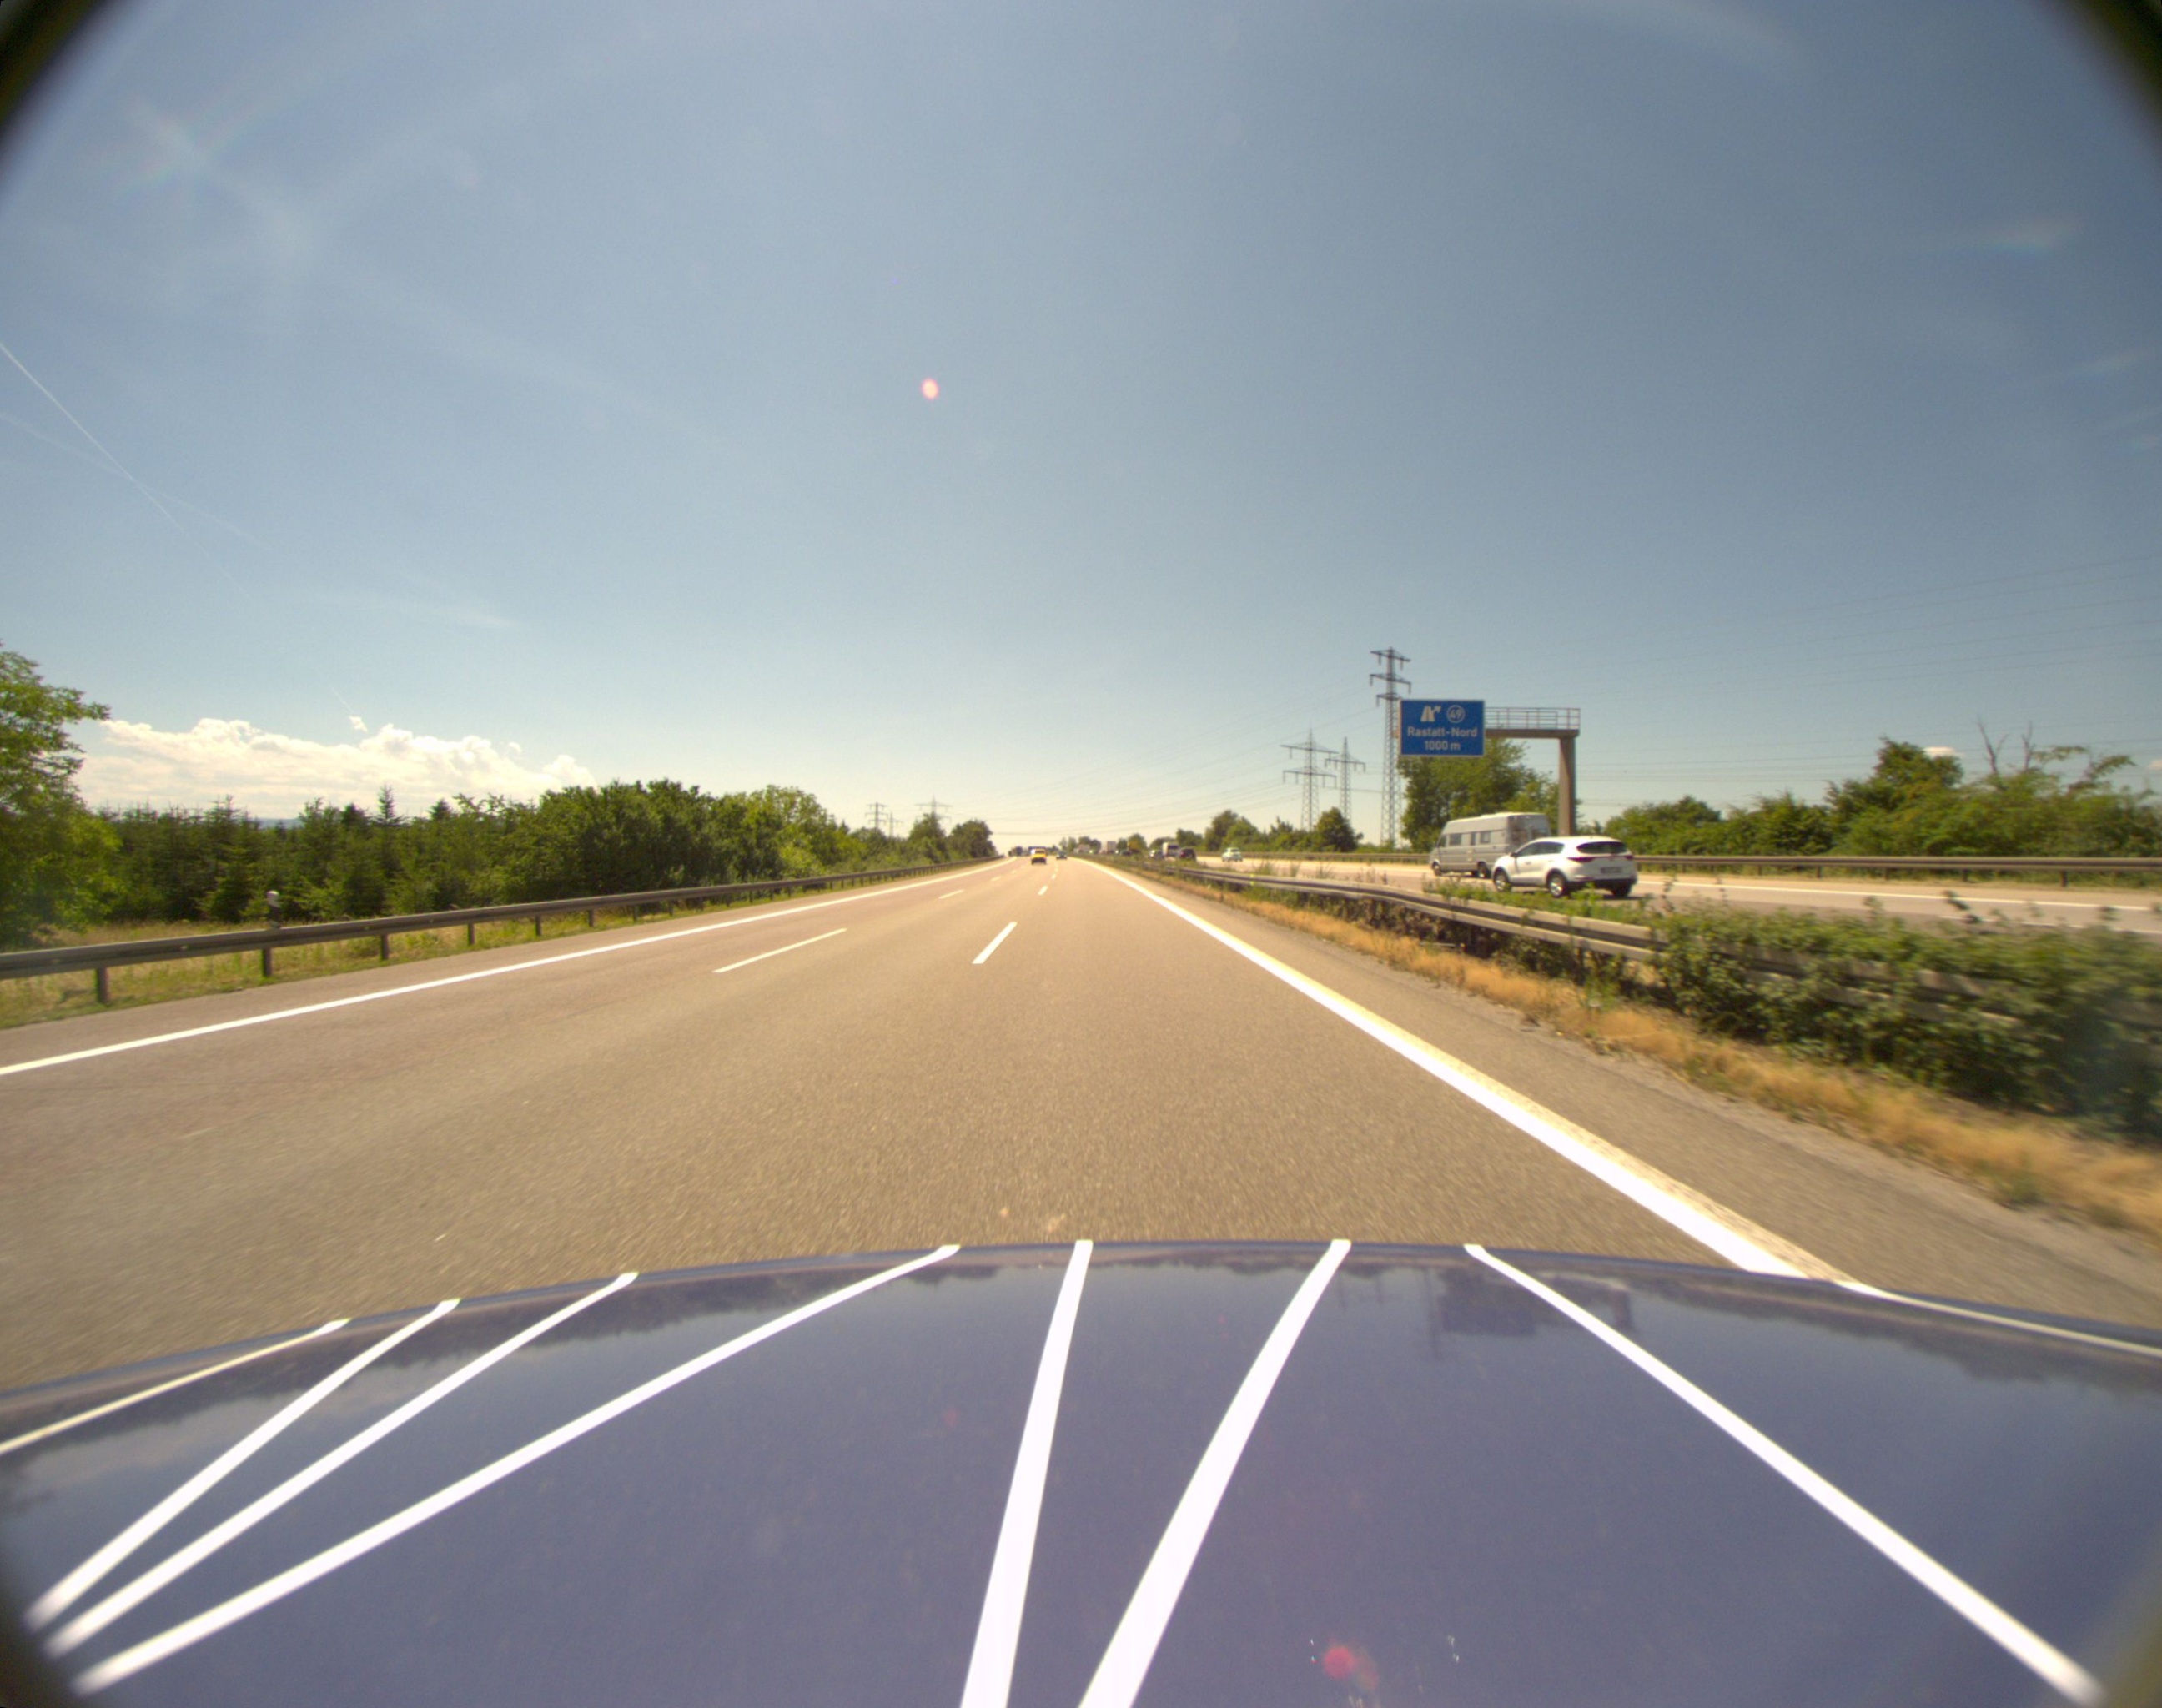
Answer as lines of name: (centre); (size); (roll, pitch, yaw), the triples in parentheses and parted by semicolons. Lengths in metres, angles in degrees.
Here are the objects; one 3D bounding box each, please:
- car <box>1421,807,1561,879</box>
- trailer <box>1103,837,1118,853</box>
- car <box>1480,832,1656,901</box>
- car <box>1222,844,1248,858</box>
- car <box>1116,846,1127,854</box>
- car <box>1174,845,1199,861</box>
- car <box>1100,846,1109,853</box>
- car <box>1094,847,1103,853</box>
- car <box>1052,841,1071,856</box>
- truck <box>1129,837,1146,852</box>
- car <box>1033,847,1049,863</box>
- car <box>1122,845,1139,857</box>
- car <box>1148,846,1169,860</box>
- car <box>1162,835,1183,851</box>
car: (17.243, -0.462, 32.558); (1.999, 2.670, 7.180); (-2, 1, -1)
trailer: (8.658, -2.655, 221.812); (2.843, 4.232, 13.633); (-2, 0, -4)
car: (13.466, 0.297, 21.451); (1.792, 1.671, 4.900); (-2, 1, 0)
car: (16.760, -0.372, 82.847); (1.999, 1.449, 4.087); (-2, 1, 0)
car: (8.588, -0.904, 162.726); (1.984, 1.501, 4.234); (-2, 1, -3)
car: (11.704, -0.136, 84.787); (1.999, 1.688, 4.605); (-2, 1, -2)
car: (6.406, -1.288, 206.914); (1.999, 1.726, 4.812); (-1, 1, -3)
car: (4.160, -1.049, 181.074); (1.636, 1.346, 3.827); (-2, 1, -3)
car: (-3.474, -0.997, 133.579); (2.688, 2.509, 5.964); (0, -1, -7)
truck: (12.507, -2.035, 168.659); (2.528, 3.134, 9.663); (-1, 1, -4)
car: (-5.101, 0.137, 96.390); (1.956, 2.001, 5.431); (0, -1, -4)
car: (7.312, -0.493, 113.340); (1.999, 1.688, 4.605); (-2, 1, -2)
car: (8.485, -0.088, 83.709); (1.751, 1.458, 4.248); (-2, 1, -2)
car: (14.974, -1.755, 124.519); (2.137, 2.463, 6.330); (-2, 1, -4)
